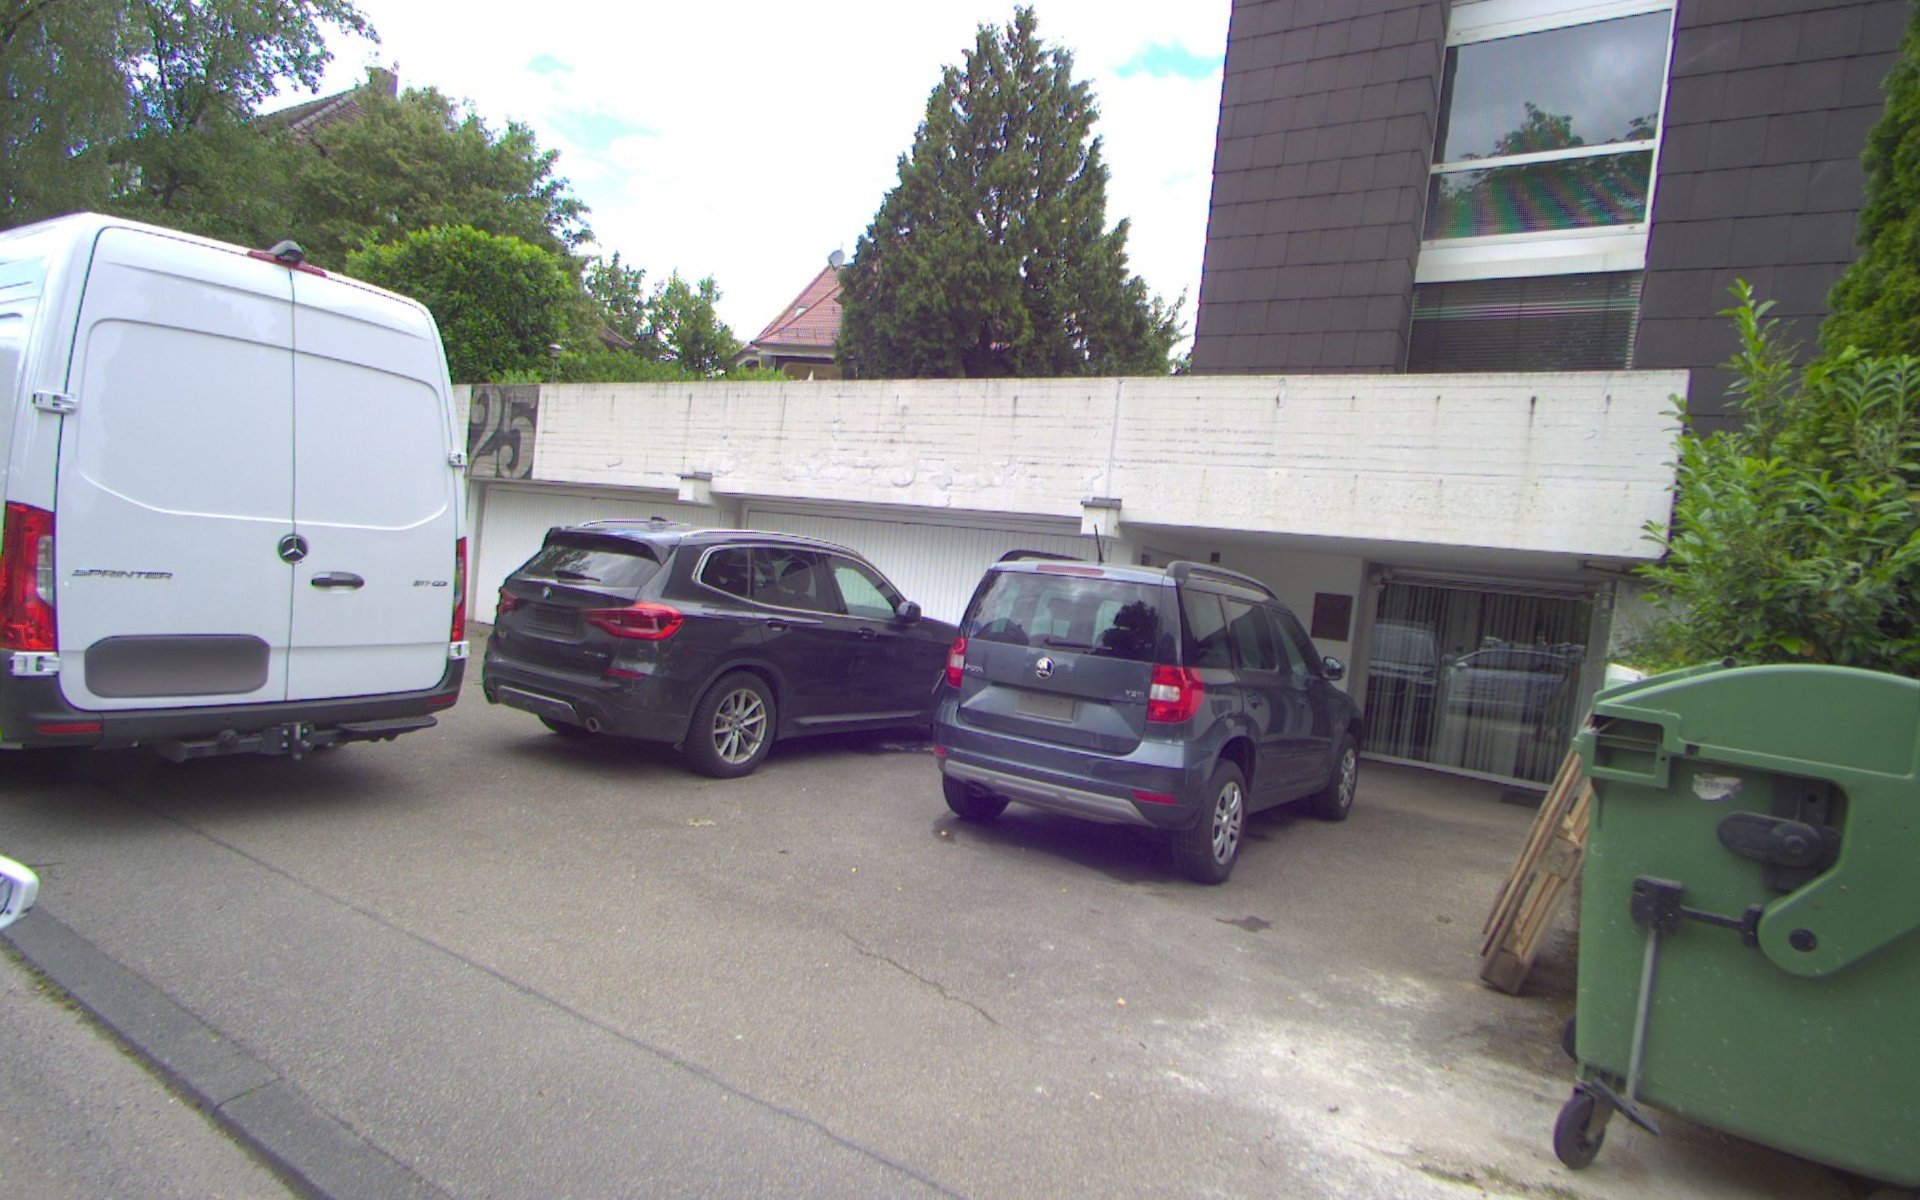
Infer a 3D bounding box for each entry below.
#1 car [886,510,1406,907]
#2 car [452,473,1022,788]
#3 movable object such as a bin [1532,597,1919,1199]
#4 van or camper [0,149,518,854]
[{"bbox_3d":[1.530,0.577,6.781,1.804,1.772,3.973,7,1,35],"label":"car"},{"bbox_3d":[-1.411,0.247,8.095,1.710,1.772,4.419,7,1,33],"label":"car"},{"bbox_3d":[2.304,0.841,2.808,1.016,1.550,1.034,7,1,33],"label":"movable object such as a bin"},{"bbox_3d":[-5.755,-0.608,6.318,6.432,2.653,1.995,7,1,32],"label":"van or camper"}]
